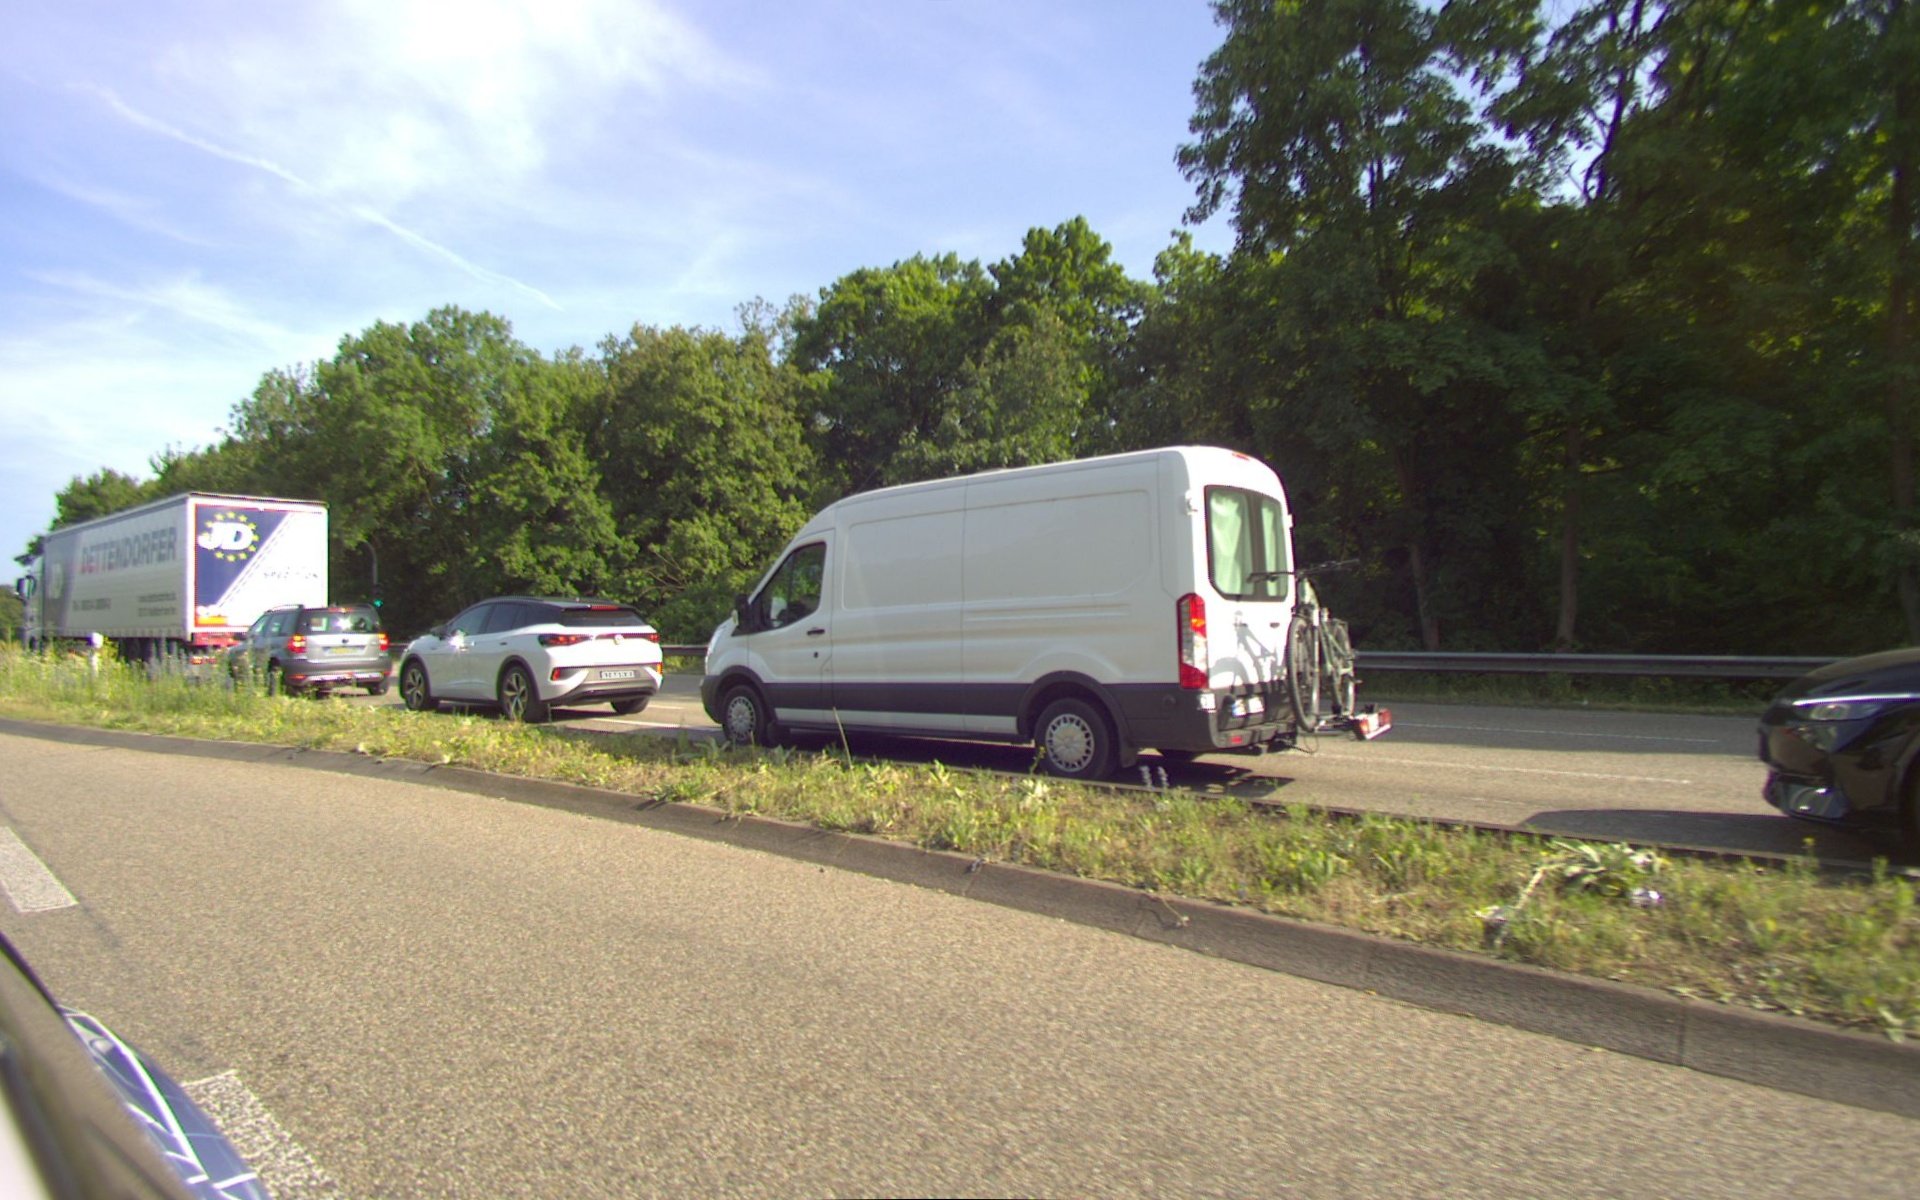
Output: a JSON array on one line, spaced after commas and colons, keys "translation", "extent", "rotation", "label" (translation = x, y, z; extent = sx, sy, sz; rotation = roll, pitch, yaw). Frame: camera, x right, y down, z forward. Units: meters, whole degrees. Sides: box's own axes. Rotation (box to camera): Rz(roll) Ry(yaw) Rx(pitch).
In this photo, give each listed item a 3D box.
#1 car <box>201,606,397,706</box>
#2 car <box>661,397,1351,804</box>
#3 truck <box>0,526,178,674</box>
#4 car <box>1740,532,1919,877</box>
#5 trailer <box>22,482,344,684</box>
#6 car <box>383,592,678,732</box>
[{"translation": [-12.198, 0.988, 18.582], "extent": [4.364, 1.644, 1.684], "rotation": [-2, -2, 38], "label": "car"}, {"translation": [0.011, 0.101, 9.086], "extent": [6.156, 2.553, 2.054], "rotation": [-2, -2, 39], "label": "car"}, {"translation": [-26.570, 0.053, 30.626], "extent": [6.711, 4.027, 2.864], "rotation": [-2, 0, 37], "label": "truck"}, {"translation": [6.182, 0.390, 3.731], "extent": [5.180, 1.468, 1.743], "rotation": [-2, -2, 39], "label": "car"}, {"translation": [-20.191, -0.184, 25.655], "extent": [13.993, 4.026, 2.964], "rotation": [-2, 0, 38], "label": "trailer"}, {"translation": [-6.075, 0.813, 14.040], "extent": [4.740, 1.644, 1.684], "rotation": [-2, -2, 38], "label": "car"}]
